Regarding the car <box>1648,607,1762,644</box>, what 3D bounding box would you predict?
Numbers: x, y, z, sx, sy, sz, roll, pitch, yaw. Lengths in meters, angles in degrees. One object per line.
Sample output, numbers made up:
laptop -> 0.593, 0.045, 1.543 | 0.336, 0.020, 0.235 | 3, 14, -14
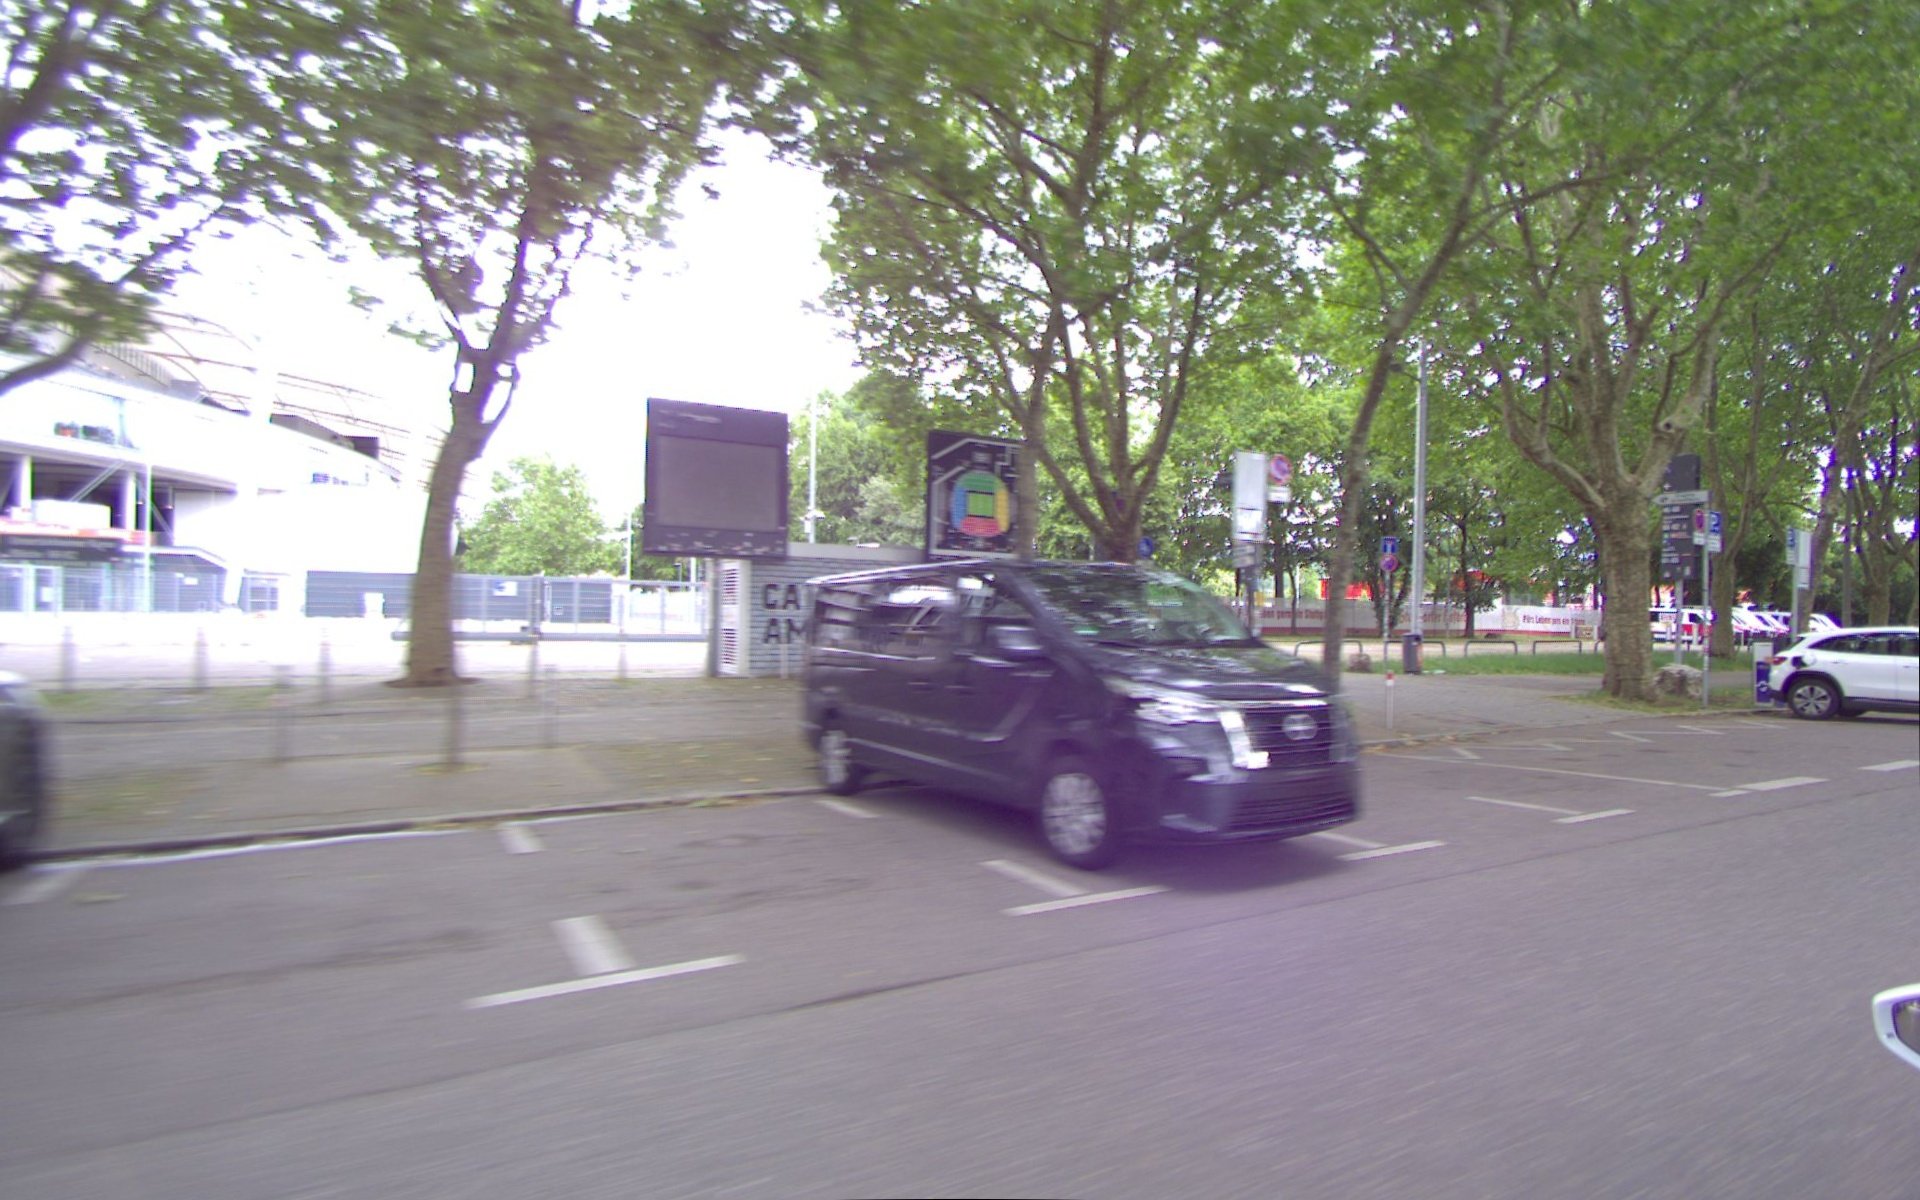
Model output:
car -> 51.009, 1.733, 68.915 | 1.976, 2.282, 5.973 | 1, 0, -30

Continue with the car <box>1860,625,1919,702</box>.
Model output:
car -> 22.494, 1.365, 21.562 | 1.978, 1.689, 4.318 | 1, -3, -31

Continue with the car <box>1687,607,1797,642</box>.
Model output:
car -> 57.020, 1.767, 73.393 | 1.976, 2.270, 5.973 | 1, 0, -30

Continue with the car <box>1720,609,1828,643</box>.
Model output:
car -> 61.213, 1.924, 75.697 | 1.976, 2.361, 5.973 | 1, 0, -30

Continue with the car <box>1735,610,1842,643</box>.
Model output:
car -> 63.356, 1.991, 76.921 | 1.976, 2.336, 5.973 | 1, 0, -30

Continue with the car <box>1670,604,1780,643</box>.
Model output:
car -> 55.048, 1.632, 72.406 | 1.976, 2.560, 5.973 | 1, 0, -30

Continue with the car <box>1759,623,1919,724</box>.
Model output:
car -> 16.353, 1.207, 16.737 | 1.978, 1.618, 4.357 | 1, -2, -31

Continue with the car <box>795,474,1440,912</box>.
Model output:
car -> 0.630, 0.553, 7.778 | 1.918, 2.156, 5.409 | 1, -2, -31

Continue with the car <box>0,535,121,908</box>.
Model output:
car -> -5.437, 0.590, 4.358 | 1.783, 1.844, 4.636 | 0, -2, -28

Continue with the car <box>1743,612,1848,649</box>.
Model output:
car -> 65.128, 2.347, 78.396 | 1.976, 2.560, 5.973 | 1, 0, -30

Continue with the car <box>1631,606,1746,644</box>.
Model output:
car -> 48.934, 1.641, 67.659 | 1.976, 2.282, 5.973 | 1, 0, -30

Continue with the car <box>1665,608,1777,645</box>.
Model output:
car -> 53.205, 1.825, 70.396 | 1.976, 2.349, 5.973 | 1, 0, -30
